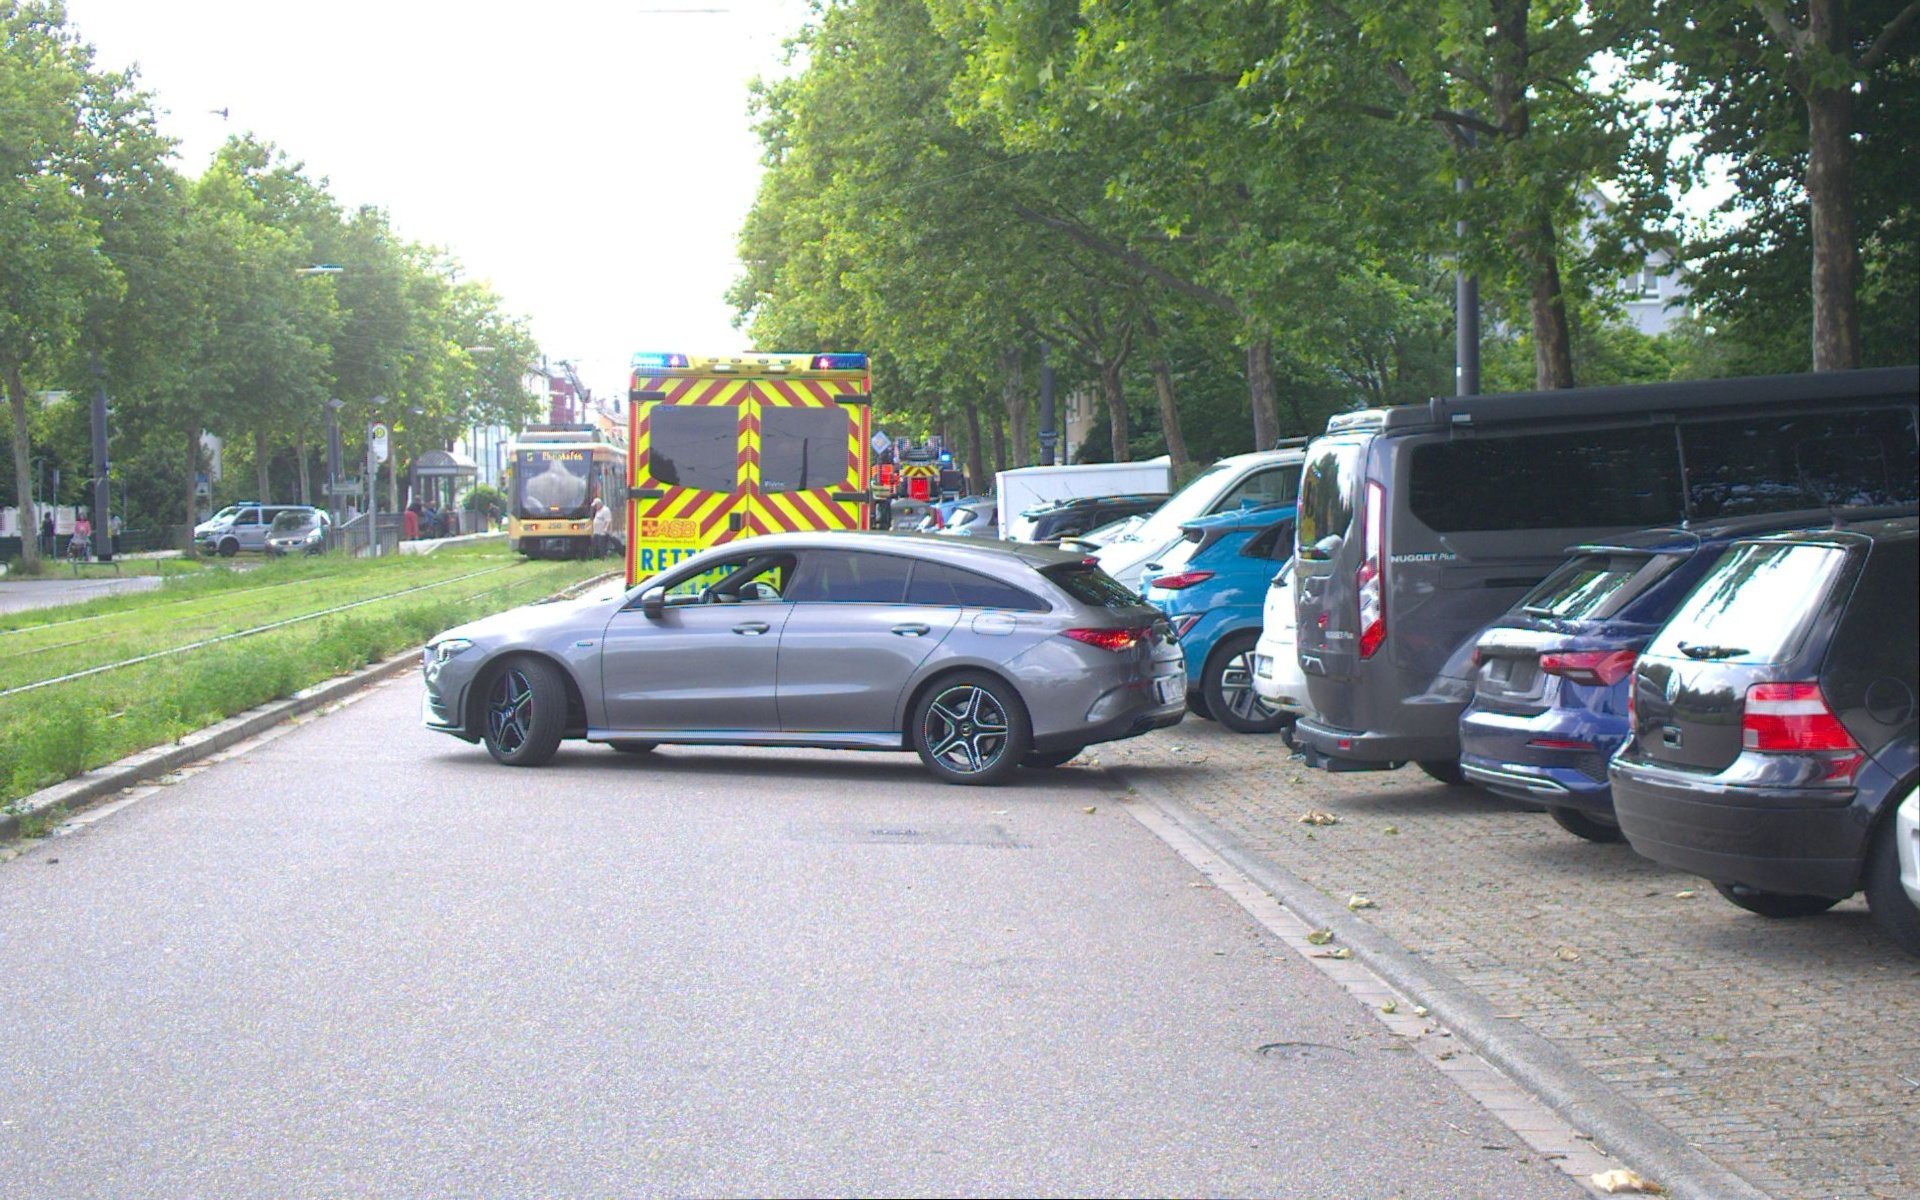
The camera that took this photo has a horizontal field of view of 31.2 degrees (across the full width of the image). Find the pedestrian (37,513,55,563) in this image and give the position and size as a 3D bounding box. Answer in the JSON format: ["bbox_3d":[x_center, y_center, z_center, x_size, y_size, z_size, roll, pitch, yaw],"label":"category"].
[{"bbox_3d":[-27.378,-1.860,102.949,0.421,1.468,0.467,-1,2,-7],"label":"pedestrian"}]

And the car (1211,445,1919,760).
[{"bbox_3d":[3.985,-0.023,21.654,4.545,1.760,1.856,-2,2,-3],"label":"car"}]

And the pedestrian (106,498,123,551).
[{"bbox_3d":[-29.232,-2.625,118.852,0.466,1.822,0.423,-1,2,-4],"label":"pedestrian"}]

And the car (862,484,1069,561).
[{"bbox_3d":[0.111,-1.794,79.467,4.545,1.603,1.856,-2,2,-6],"label":"car"}]

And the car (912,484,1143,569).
[{"bbox_3d":[1.375,-1.528,71.280,4.545,1.603,1.856,-2,2,-6],"label":"car"}]

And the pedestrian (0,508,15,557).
[{"bbox_3d":[-30.371,-2.134,109.000,0.632,1.545,0.622,-1,2,-6],"label":"pedestrian"}]

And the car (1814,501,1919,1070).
[{"bbox_3d":[4.487,0.430,9.060,3.965,1.489,1.756,-2,2,-3],"label":"car"}]

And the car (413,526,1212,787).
[{"bbox_3d":[-0.860,0.284,20.676,4.456,1.381,1.765,1,1,16],"label":"car"}]

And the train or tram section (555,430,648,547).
[{"bbox_3d":[-11.582,-3.548,111.548,2.511,3.572,7.446,-2,1,-3],"label":"train or tram section"}]

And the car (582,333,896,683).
[{"bbox_3d":[-1.996,-0.877,33.094,2.641,2.956,6.300,2,1,-1],"label":"car"}]

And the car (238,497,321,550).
[{"bbox_3d":[-21.629,-2.459,109.421,1.993,1.552,4.371,-2,2,-4],"label":"car"}]

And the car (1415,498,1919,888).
[{"bbox_3d":[4.079,0.312,14.564,3.965,1.489,1.756,-2,1,-3],"label":"car"}]

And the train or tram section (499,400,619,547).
[{"bbox_3d":[-10.343,-3.213,89.259,2.511,3.572,7.446,-2,1,-3],"label":"train or tram section"}]

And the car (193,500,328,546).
[{"bbox_3d":[-26.294,-2.911,129.270,4.615,1.627,1.882,-3,2,-42],"label":"car"}]

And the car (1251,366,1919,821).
[{"bbox_3d":[3.918,-0.086,17.718,4.545,2.116,1.856,-2,2,-3],"label":"car"}]

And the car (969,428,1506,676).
[{"bbox_3d":[2.472,-0.459,31.258,4.545,2.036,1.856,-2,2,-6],"label":"car"}]

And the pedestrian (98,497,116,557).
[{"bbox_3d":[-24.542,-2.095,98.943,0.421,1.724,0.467,-1,2,-7],"label":"pedestrian"}]

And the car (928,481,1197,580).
[{"bbox_3d":[1.809,-1.254,61.440,4.545,1.603,1.856,-2,2,-6],"label":"car"}]

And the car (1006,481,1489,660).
[{"bbox_3d":[2.864,-0.319,34.754,4.545,1.603,1.856,-2,2,-6],"label":"car"}]

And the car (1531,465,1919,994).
[{"bbox_3d":[4.174,0.311,11.774,3.964,1.600,1.757,-2,2,-13],"label":"car"}]

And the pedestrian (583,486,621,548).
[{"bbox_3d":[-8.863,-2.044,85.064,0.880,1.520,0.751,1,1,-3],"label":"pedestrian"}]

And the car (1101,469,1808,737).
[{"bbox_3d":[3.410,-0.014,24.167,4.545,1.654,1.856,-2,2,-7],"label":"car"}]

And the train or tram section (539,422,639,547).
[{"bbox_3d":[-11.176,-3.437,104.116,2.511,3.572,7.446,-2,1,-3],"label":"train or tram section"}]

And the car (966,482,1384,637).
[{"bbox_3d":[2.455,-0.487,39.897,4.545,1.603,1.856,-2,2,-6],"label":"car"}]

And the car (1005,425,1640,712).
[{"bbox_3d":[2.752,-0.268,26.674,4.545,1.994,1.856,-2,2,-6],"label":"car"}]
